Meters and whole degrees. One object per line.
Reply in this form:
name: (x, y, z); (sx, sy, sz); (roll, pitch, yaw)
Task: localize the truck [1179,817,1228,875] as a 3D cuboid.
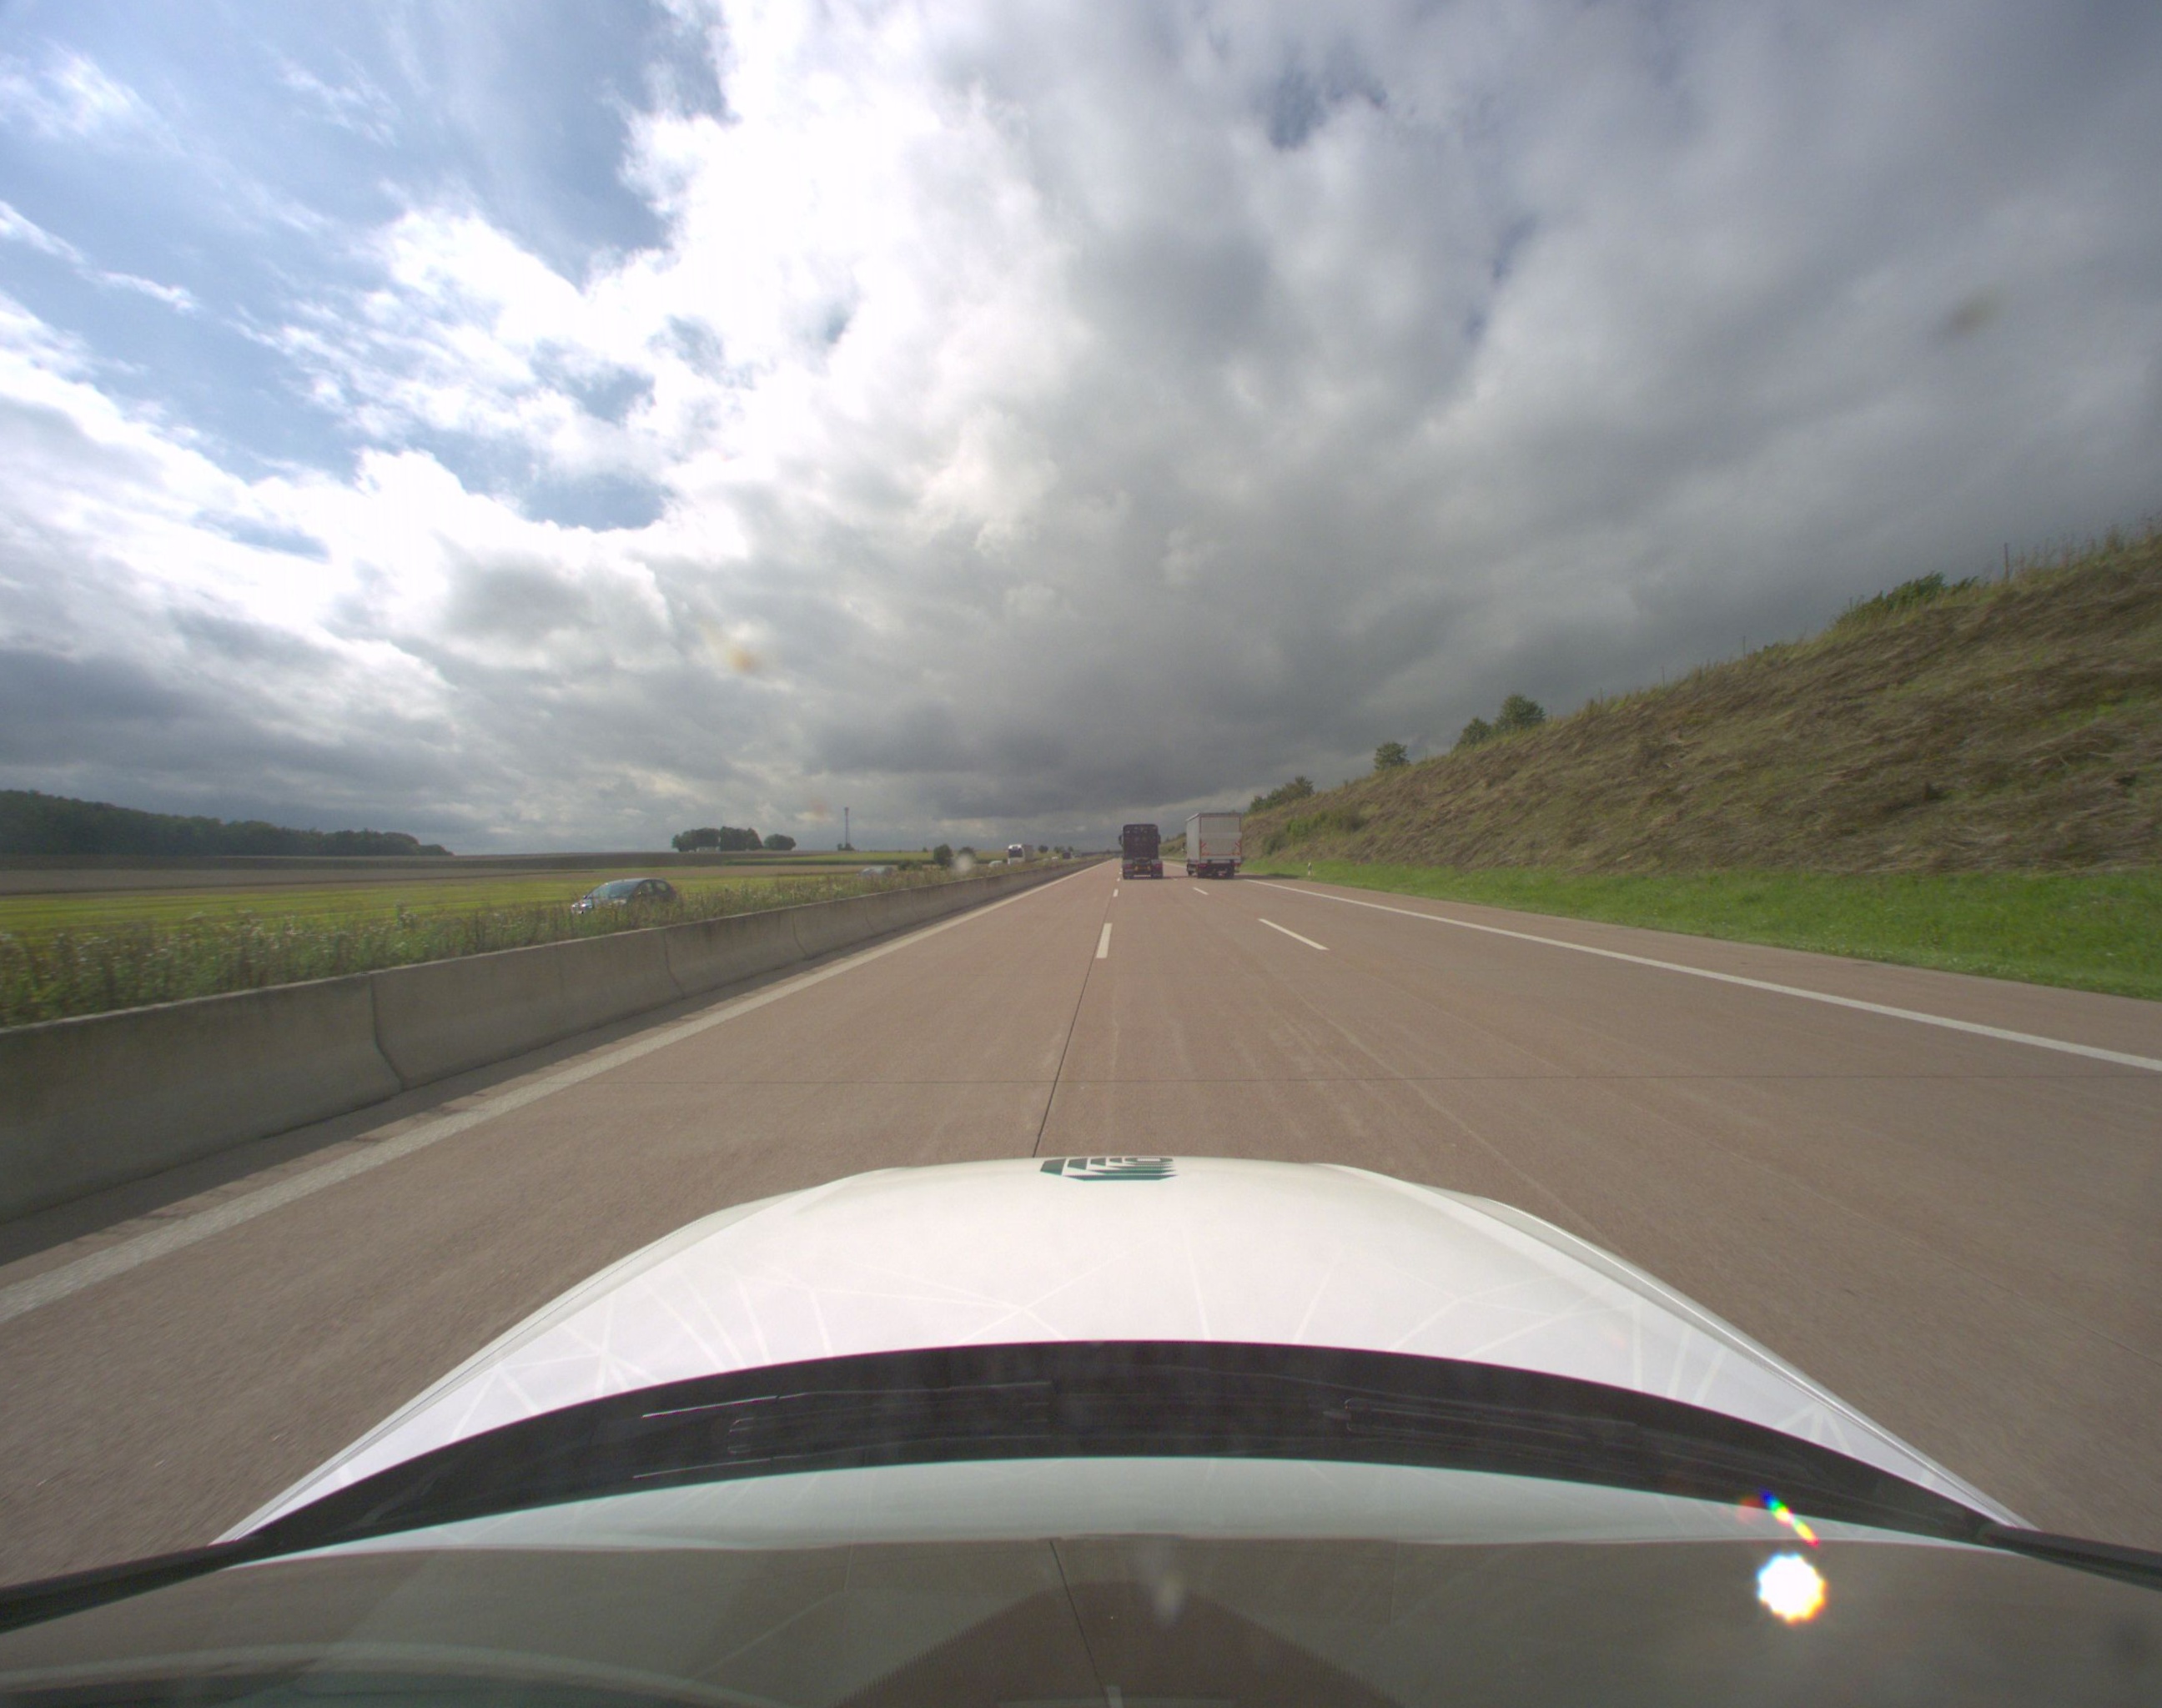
truck: (8.445, -0.516, 56.479); (2.739, 3.892, 4.546); (-1, -1, 1)

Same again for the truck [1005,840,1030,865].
truck: (-10.519, -0.244, 135.185); (3.192, 4.098, 6.132); (0, 0, 4)

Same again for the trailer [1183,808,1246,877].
trailer: (8.348, -0.647, 52.083); (2.738, 4.012, 8.672); (-1, 0, 1)

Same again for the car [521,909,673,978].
car: (-13.739, 2.487, 23.427); (1.775, 1.464, 4.003); (-3, 0, 3)

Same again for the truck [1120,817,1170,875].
truck: (4.069, -0.454, 53.781); (2.837, 3.550, 8.321); (-1, 0, 1)

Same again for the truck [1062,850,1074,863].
truck: (-4.129, 0.814, 257.571); (2.879, 4.098, 6.341); (-4, 0, 4)
